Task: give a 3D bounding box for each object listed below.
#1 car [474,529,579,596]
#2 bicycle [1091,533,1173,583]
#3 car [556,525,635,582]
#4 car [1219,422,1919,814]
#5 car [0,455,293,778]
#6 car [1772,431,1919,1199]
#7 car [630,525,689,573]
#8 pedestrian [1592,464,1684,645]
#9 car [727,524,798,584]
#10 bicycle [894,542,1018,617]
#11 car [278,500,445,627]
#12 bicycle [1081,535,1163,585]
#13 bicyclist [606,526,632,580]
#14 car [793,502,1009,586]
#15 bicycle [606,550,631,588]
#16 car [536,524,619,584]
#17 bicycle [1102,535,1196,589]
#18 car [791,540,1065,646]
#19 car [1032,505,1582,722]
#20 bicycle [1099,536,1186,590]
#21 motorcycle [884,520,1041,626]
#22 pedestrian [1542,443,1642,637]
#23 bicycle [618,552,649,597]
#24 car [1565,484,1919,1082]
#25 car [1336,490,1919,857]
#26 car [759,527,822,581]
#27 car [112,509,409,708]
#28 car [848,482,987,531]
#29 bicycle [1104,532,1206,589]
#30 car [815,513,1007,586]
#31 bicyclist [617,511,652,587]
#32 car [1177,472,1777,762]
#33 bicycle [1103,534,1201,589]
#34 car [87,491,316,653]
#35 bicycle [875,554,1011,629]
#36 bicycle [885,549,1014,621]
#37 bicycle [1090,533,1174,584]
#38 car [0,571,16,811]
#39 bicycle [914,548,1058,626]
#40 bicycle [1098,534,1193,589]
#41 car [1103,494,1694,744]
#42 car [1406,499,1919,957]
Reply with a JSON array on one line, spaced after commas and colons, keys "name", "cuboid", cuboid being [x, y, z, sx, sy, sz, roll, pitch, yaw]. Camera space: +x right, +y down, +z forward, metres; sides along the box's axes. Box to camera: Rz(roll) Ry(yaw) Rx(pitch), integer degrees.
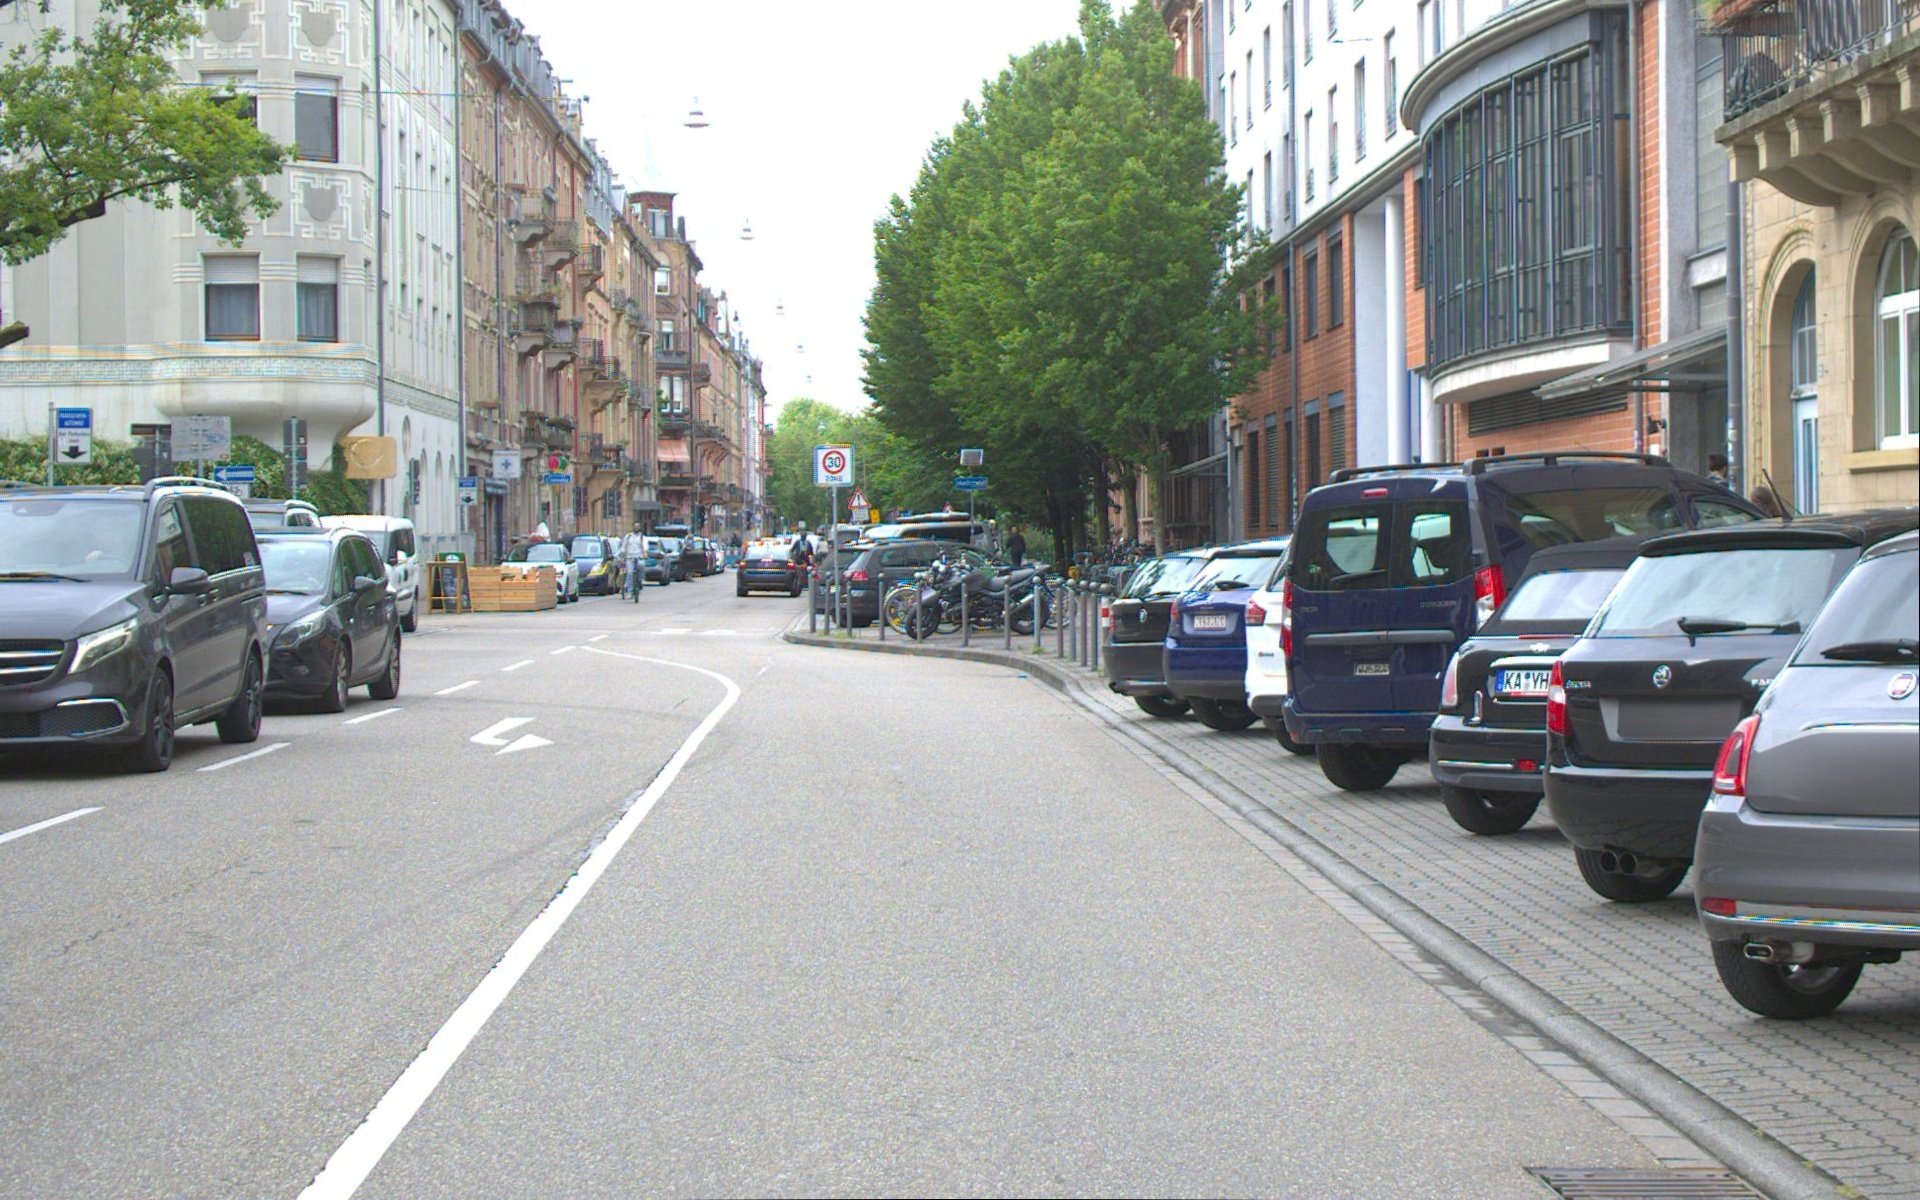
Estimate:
[{"name": "car", "cuboid": [-10.445, -0.913, 83.087, 1.944, 1.548, 3.817, -1, 1, 1]}, {"name": "bicycle", "cuboid": [3.736, -0.911, 74.726, 1.752, 1.088, 0.565, 0, 0, -2]}, {"name": "car", "cuboid": [-10.595, -1.352, 100.099, 1.944, 1.611, 3.943, 1, 1, -1]}, {"name": "car", "cuboid": [3.695, 0.020, 19.960, 4.271, 1.900, 1.879, -5, 3, -42]}, {"name": "car", "cuboid": [-5.958, 0.037, 23.372, 1.912, 1.948, 5.284, 0, 1, -1]}, {"name": "car", "cuboid": [4.204, 0.370, 7.862, 4.738, 1.679, 1.936, -4, 1, -37]}, {"name": "car", "cuboid": [-11.187, -1.903, 128.180, 1.944, 1.736, 3.943, 1, 1, -1]}, {"name": "pedestrian", "cuboid": [5.814, -0.385, 29.486, 0.561, 1.524, 0.553, 0, 0, -44]}, {"name": "car", "cuboid": [-5.623, -1.296, 98.425, 1.993, 1.675, 4.000, 0, 0, -3]}, {"name": "bicycle", "cuboid": [-0.073, -0.323, 54.168, 1.883, 1.137, 0.612, -2, 0, -4]}, {"name": "car", "cuboid": [-9.506, -0.611, 54.902, 1.843, 1.933, 4.548, 0, 1, 0]}, {"name": "bicycle", "cuboid": [3.556, -0.882, 75.463, 1.752, 1.088, 0.565, 0, 0, -2]}, {"name": "bicyclist", "cuboid": [-8.889, -1.227, 89.642, 0.668, 1.394, 0.783, 0, 0, -4]}, {"name": "car", "cuboid": [-1.549, -1.505, 91.828, 5.608, 2.120, 1.950, -2, 1, -35]}, {"name": "bicycle", "cuboid": [-8.896, -0.810, 89.669, 0.535, 0.974, 1.865, 0, 0, -2]}, {"name": "car", "cuboid": [-10.503, -1.263, 94.626, 1.944, 1.611, 3.943, 1, 1, -1]}, {"name": "bicycle", "cuboid": [3.783, -0.757, 68.897, 1.836, 1.088, 0.565, 0, 0, -2]}, {"name": "car", "cuboid": [-0.520, -0.136, 58.273, 4.274, 1.573, 1.863, -3, 2, -34]}, {"name": "car", "cuboid": [2.907, 0.068, 28.693, 4.246, 1.473, 1.685, -4, 3, -25]}, {"name": "bicycle", "cuboid": [3.739, -0.760, 70.451, 1.752, 1.088, 0.565, 0, 0, -2]}, {"name": "motorcycle", "cuboid": [0.027, -0.372, 48.455, 2.133, 1.425, 0.771, -2, 0, -4]}, {"name": "pedestrian", "cuboid": [5.857, -0.558, 31.875, 0.629, 1.747, 0.812, -4, 1, -5]}, {"name": "bicycle", "cuboid": [-8.063, -0.644, 84.861, 0.567, 1.084, 1.987, 0, 1, 0]}, {"name": "car", "cuboid": [4.077, 0.373, 10.877, 4.453, 1.568, 1.746, -5, 3, -40]}, {"name": "car", "cuboid": [4.067, 0.268, 17.123, 4.060, 1.448, 2.031, -6, 2, -40]}, {"name": "car", "cuboid": [-5.487, -1.473, 111.397, 1.993, 1.675, 4.000, 0, 0, -3]}, {"name": "car", "cuboid": [-6.259, 0.015, 31.262, 1.845, 1.678, 4.549, 0, 1, -1]}, {"name": "car", "cuboid": [-1.735, -3.823, 140.311, 5.386, 1.861, 1.950, -2, 1, -31]}, {"name": "bicycle", "cuboid": [3.787, -0.763, 66.828, 1.933, 1.088, 0.577, 0, 0, -2]}, {"name": "car", "cuboid": [-1.412, -1.486, 100.020, 5.387, 1.985, 1.950, -2, 1, -35]}, {"name": "bicyclist", "cuboid": [-8.049, -1.263, 85.120, 0.782, 1.860, 0.714, 0, 1, 0]}, {"name": "car", "cuboid": [3.533, 0.059, 23.093, 3.989, 1.596, 1.765, -5, 3, -41]}, {"name": "bicycle", "cuboid": [3.764, -0.755, 67.434, 1.895, 1.088, 0.543, 0, 0, -2]}, {"name": "car", "cuboid": [-9.885, -0.405, 45.189, 2.013, 2.007, 5.184, 0, 1, -2]}, {"name": "bicycle", "cuboid": [-0.257, -0.128, 50.341, 1.929, 1.040, 0.612, -2, 0, -4]}, {"name": "bicycle", "cuboid": [-0.167, -0.222, 51.984, 1.883, 1.040, 0.612, -2, 0, -4]}, {"name": "bicycle", "cuboid": [3.691, -0.885, 73.910, 1.752, 1.088, 0.565, 0, 0, -2]}, {"name": "car", "cuboid": [-6.002, 0.542, 16.671, 1.704, 1.282, 4.042, -2, 1, 0]}, {"name": "bicycle", "cuboid": [0.366, -0.190, 49.569, 2.008, 1.059, 0.612, -2, 0, -4]}, {"name": "bicycle", "cuboid": [3.684, -0.759, 68.241, 1.836, 1.088, 0.543, 0, 0, -2]}, {"name": "car", "cuboid": [3.311, 0.091, 25.801, 3.987, 1.528, 1.932, -5, 3, -30]}, {"name": "car", "cuboid": [4.023, 0.364, 13.856, 4.452, 1.547, 1.851, -3, 2, -40]}]
